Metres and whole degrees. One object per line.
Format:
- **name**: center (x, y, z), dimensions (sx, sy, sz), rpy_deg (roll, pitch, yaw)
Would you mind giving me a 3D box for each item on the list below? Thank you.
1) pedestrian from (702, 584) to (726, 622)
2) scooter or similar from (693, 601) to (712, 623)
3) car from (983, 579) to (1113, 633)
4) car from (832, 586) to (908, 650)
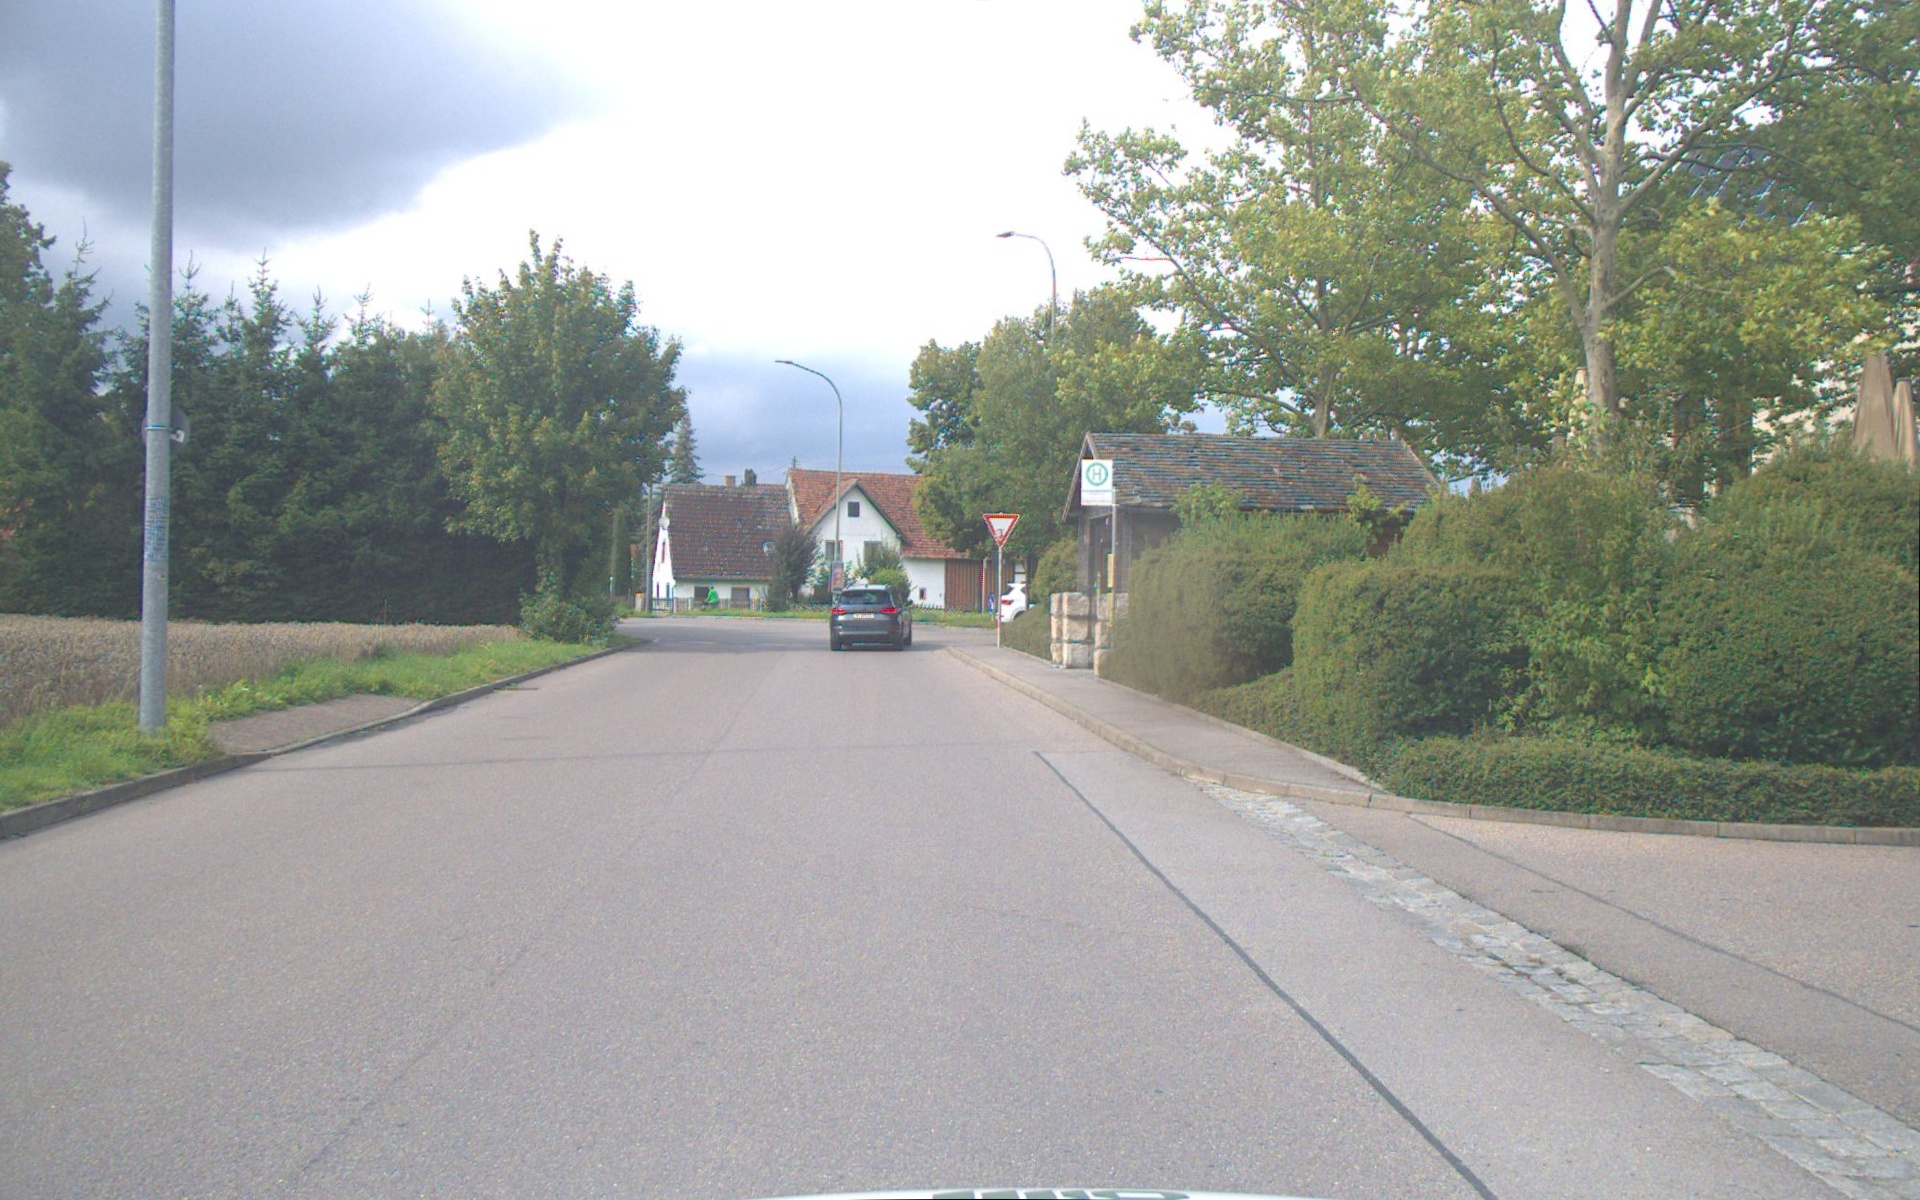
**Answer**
- **pedestrian**: center (-11.436, 0.156, 76.891), dimensions (0.782, 1.694, 0.703), rpy_deg (6, -3, -37)
- **scooter or similar**: center (-12.040, 0.543, 77.379), dimensions (0.626, 0.964, 0.614), rpy_deg (6, -3, -37)
- **car**: center (2.686, 0.170, 50.749), dimensions (3.894, 1.542, 1.805), rpy_deg (1, 0, 2)
- **car**: center (-2.183, 0.412, 40.957), dimensions (1.762, 1.488, 3.661), rpy_deg (1, 0, -2)
